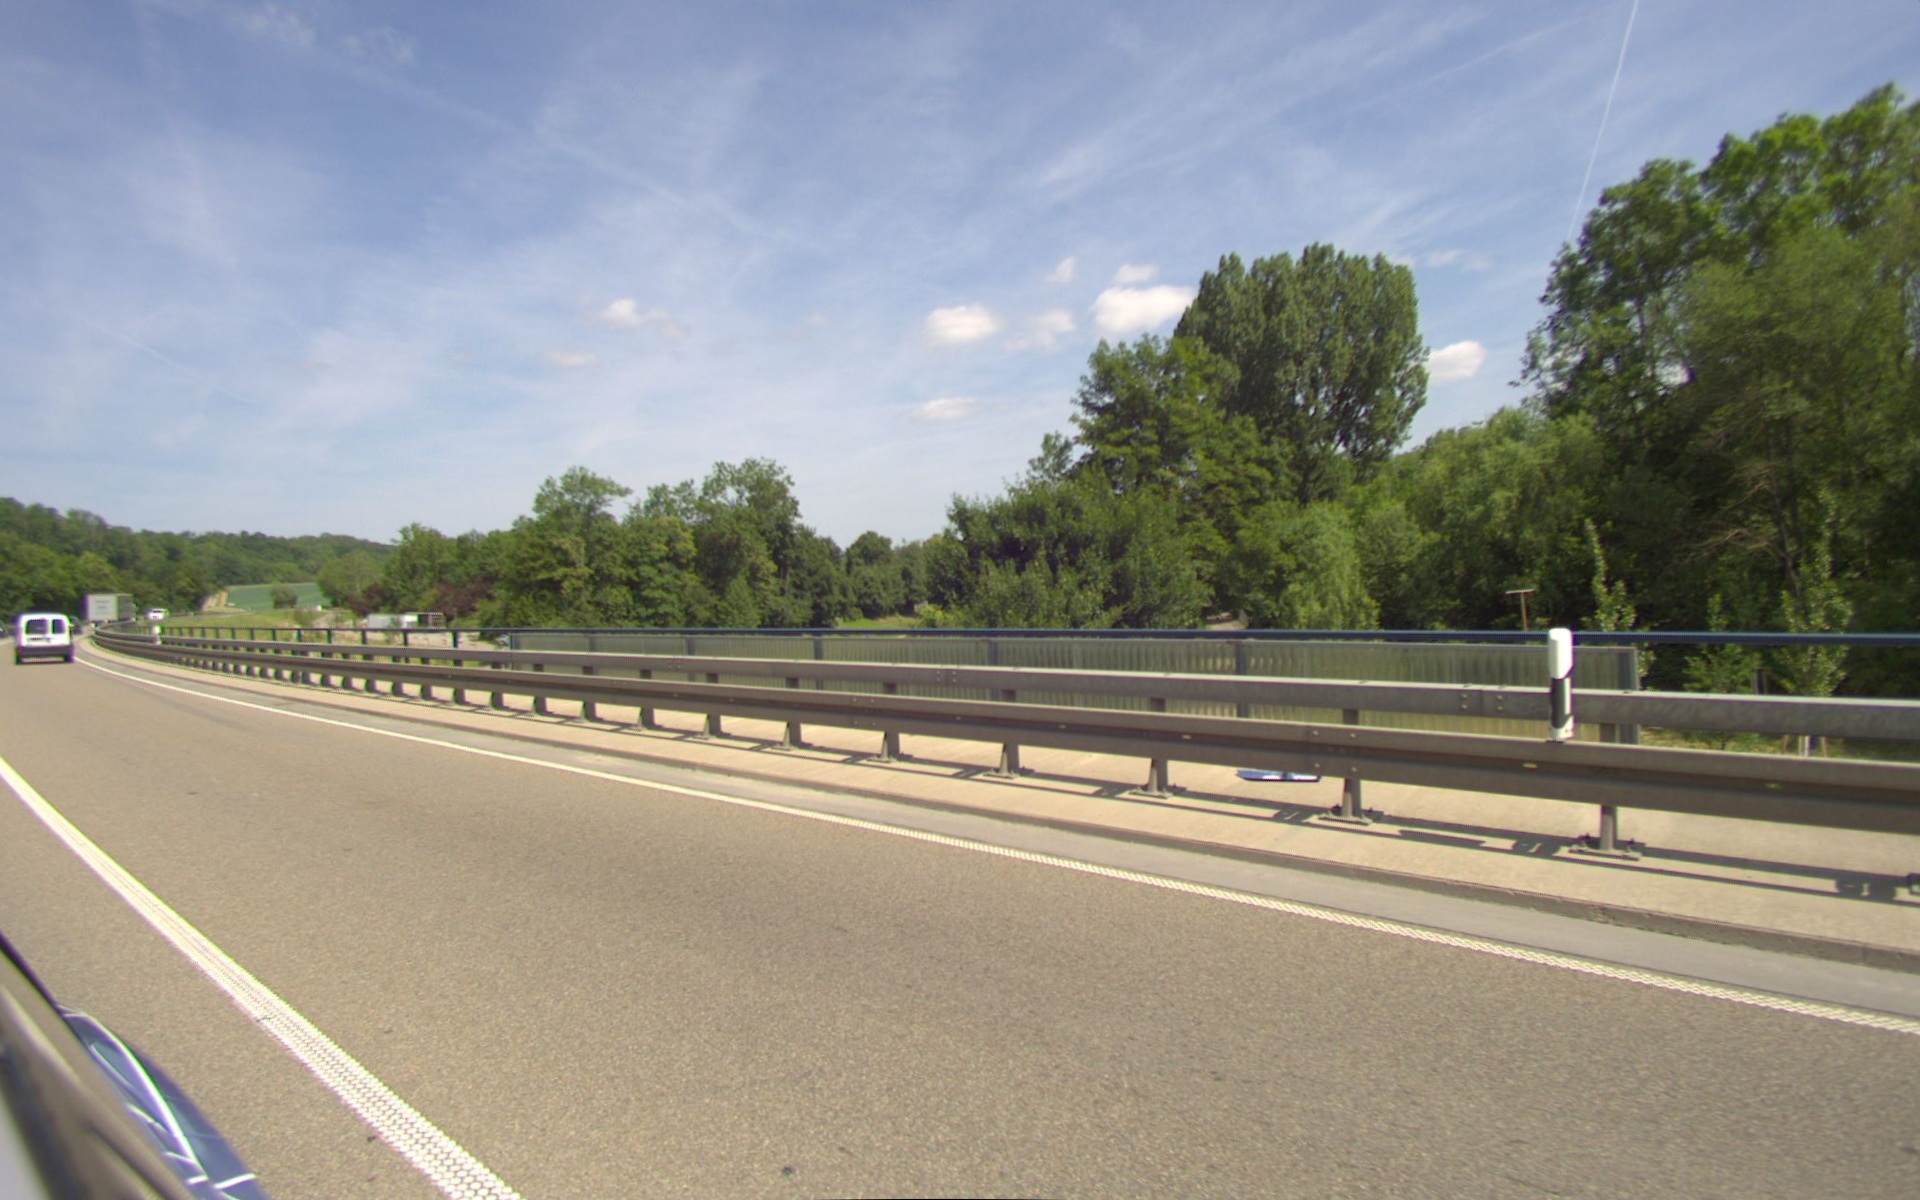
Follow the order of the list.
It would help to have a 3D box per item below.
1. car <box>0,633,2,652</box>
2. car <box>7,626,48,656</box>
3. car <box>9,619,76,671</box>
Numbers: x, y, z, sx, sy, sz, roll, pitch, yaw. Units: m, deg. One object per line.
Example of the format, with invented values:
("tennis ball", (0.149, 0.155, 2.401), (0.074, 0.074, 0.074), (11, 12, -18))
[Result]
("car", (-77.578, 3.391, 80.663), (1.718, 1.465, 4.038), (-1, -1, -45))
("car", (-54.649, 2.374, 59.290), (1.718, 1.623, 3.811), (-1, -1, -44))
("car", (-34.032, 1.629, 37.510), (1.718, 1.788, 4.039), (-1, -1, -44))
